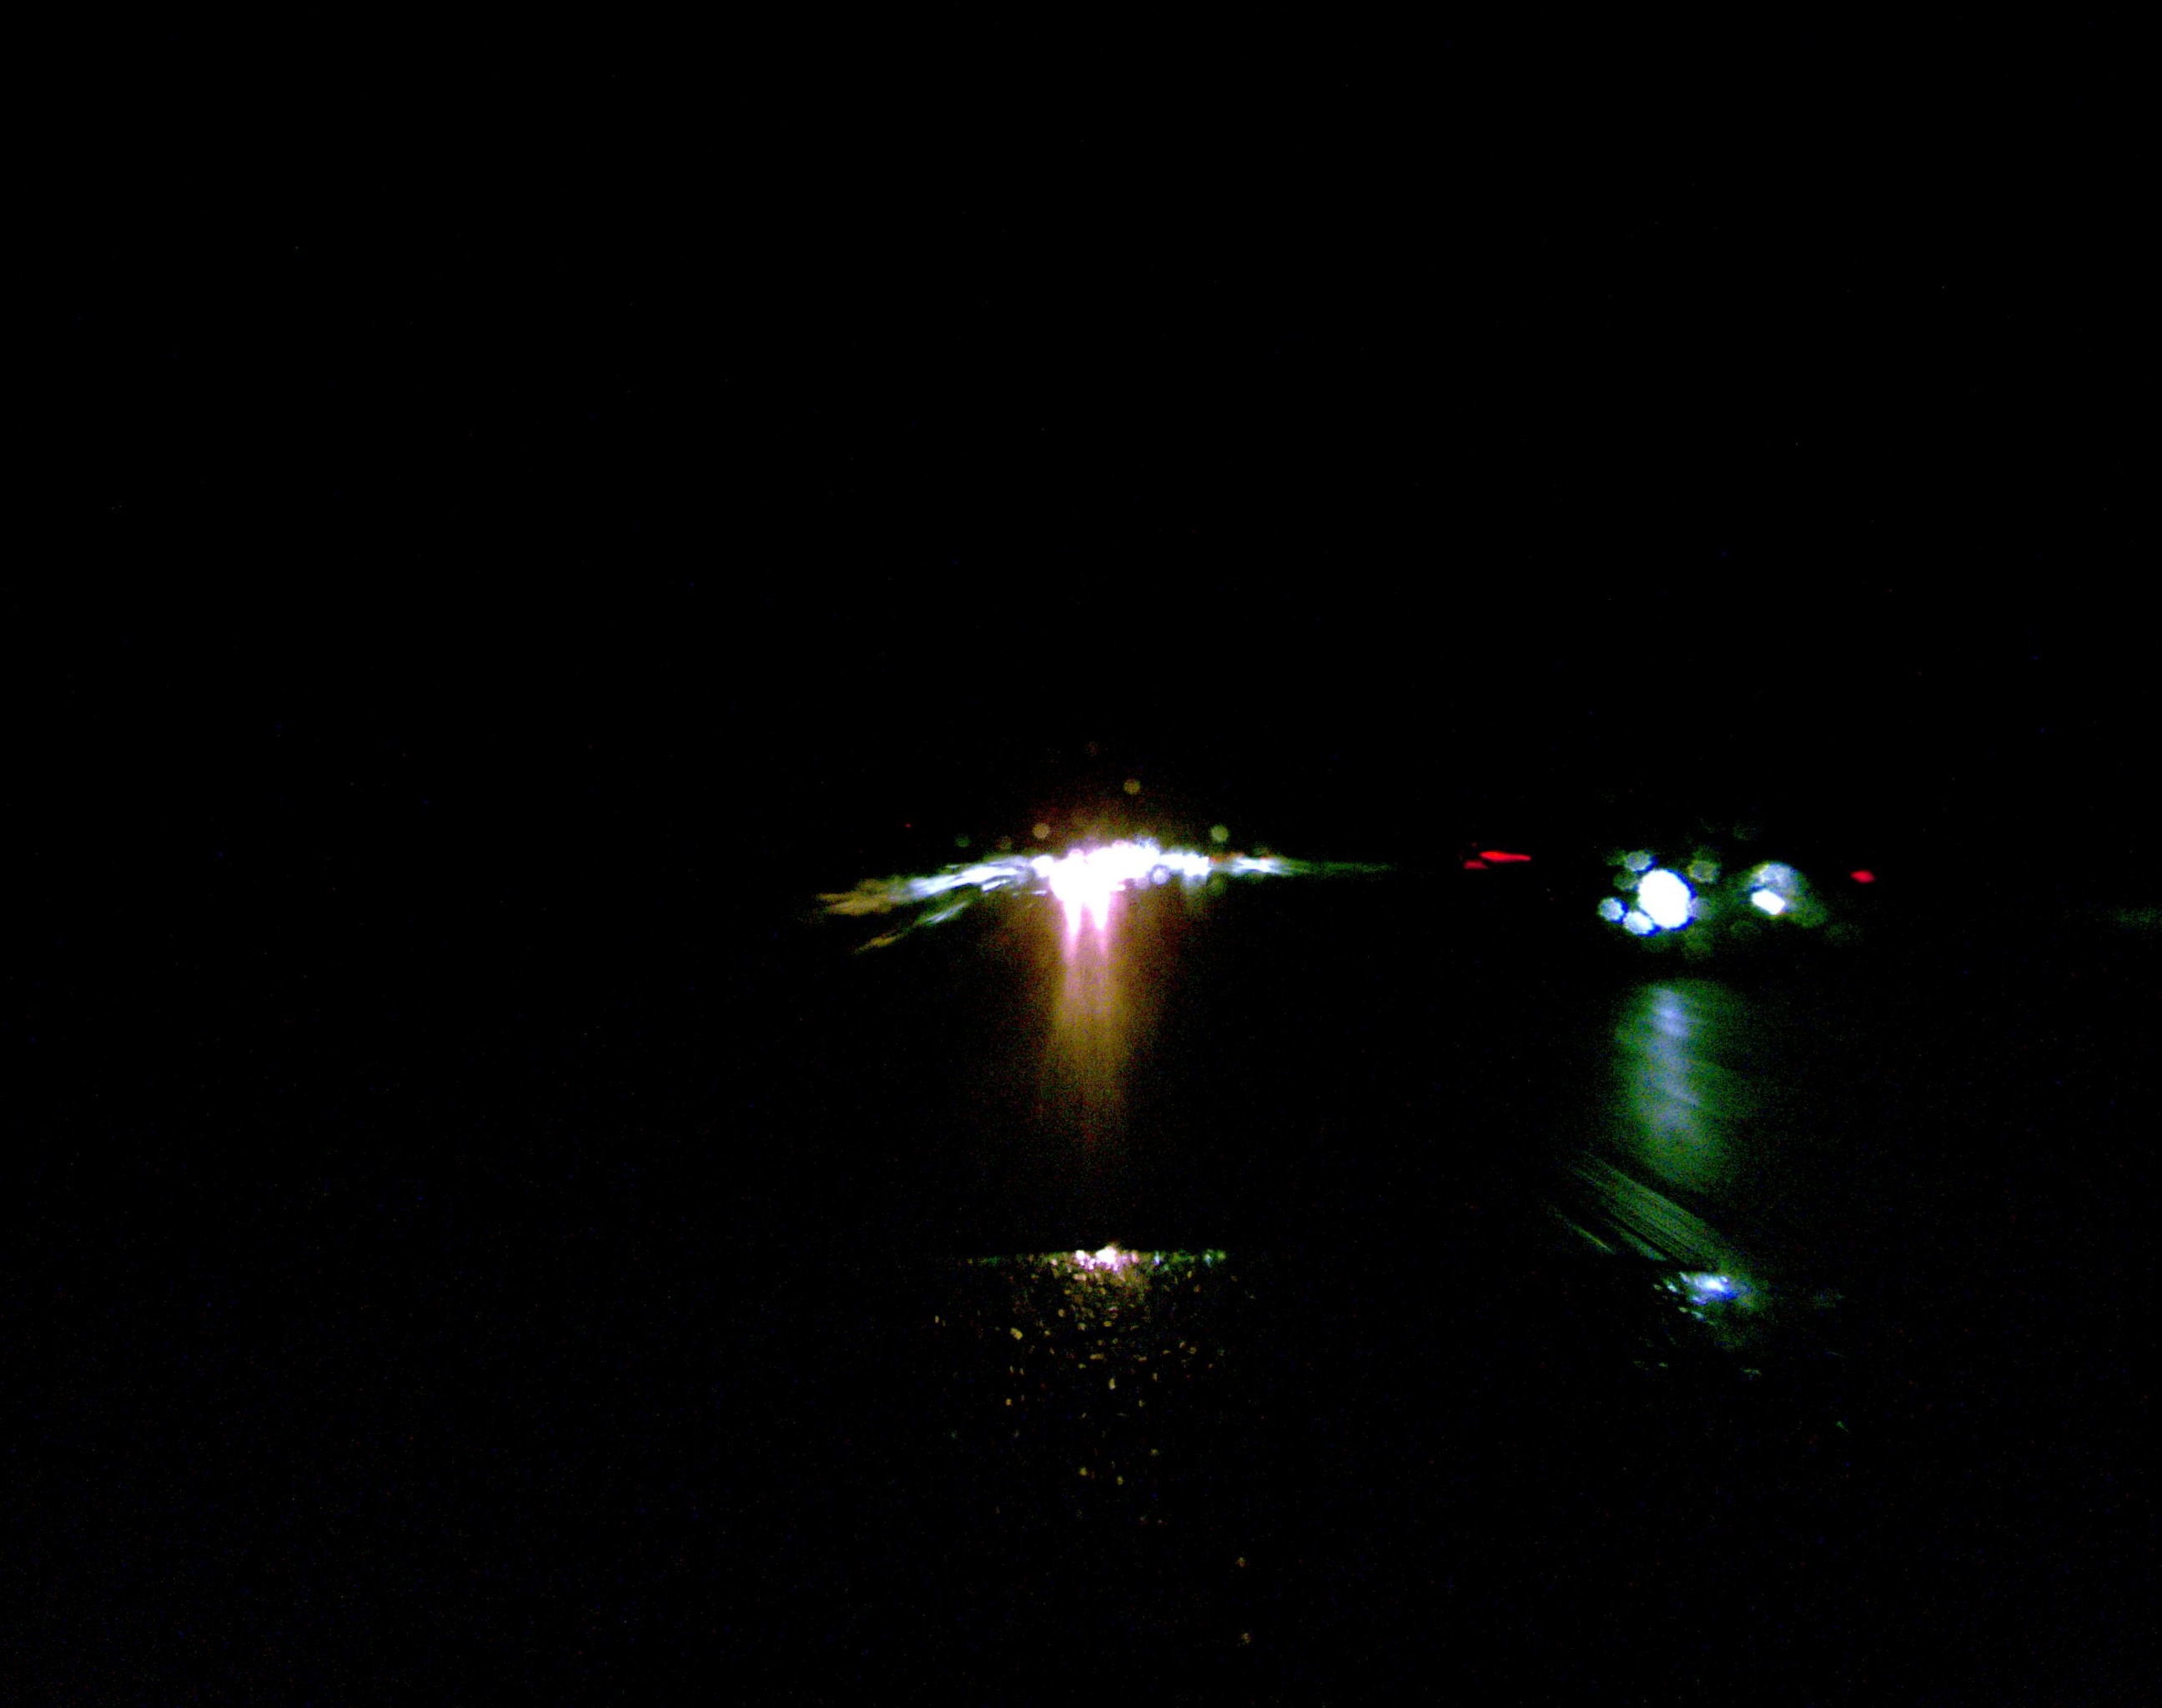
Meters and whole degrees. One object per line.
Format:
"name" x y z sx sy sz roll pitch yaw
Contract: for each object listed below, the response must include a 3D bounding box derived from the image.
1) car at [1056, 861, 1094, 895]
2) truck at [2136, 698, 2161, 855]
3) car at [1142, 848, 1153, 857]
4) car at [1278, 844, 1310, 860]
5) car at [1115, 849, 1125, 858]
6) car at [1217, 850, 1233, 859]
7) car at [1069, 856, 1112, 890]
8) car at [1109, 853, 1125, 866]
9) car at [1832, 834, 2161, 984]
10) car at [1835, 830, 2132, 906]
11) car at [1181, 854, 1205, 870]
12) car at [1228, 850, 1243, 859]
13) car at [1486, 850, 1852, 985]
"car" -0.222 1.002 33.041 1.525 1.256 3.369 -2 1 1
"truck" 28.237 -1.879 10.562 3.508 3.865 17.179 -2 1 1
"car" 13.231 -0.273 151.542 1.998 1.797 4.000 -2 1 2
"car" 21.435 -0.215 76.657 1.884 1.548 4.459 -2 1 0
"car" 8.268 -0.144 163.281 1.998 1.797 4.000 -2 1 2
"car" 25.594 0.108 134.749 1.885 1.548 4.459 -2 1 -1
"car" 0.475 0.943 38.160 1.998 1.542 4.001 -2 -1 1
"car" 4.645 0.707 98.453 1.998 1.551 4.587 -2 1 1
"car" 11.945 0.535 8.521 1.998 1.468 5.164 -2 1 1
"car" 21.480 0.267 18.446 1.884 1.548 4.459 -2 1 0
"car" 11.976 0.788 81.615 1.998 1.551 4.587 -2 1 1
"car" 29.399 0.058 144.670 1.884 1.548 4.460 -2 1 0
"car" 7.683 0.706 10.551 1.998 1.433 4.000 -2 1 1
